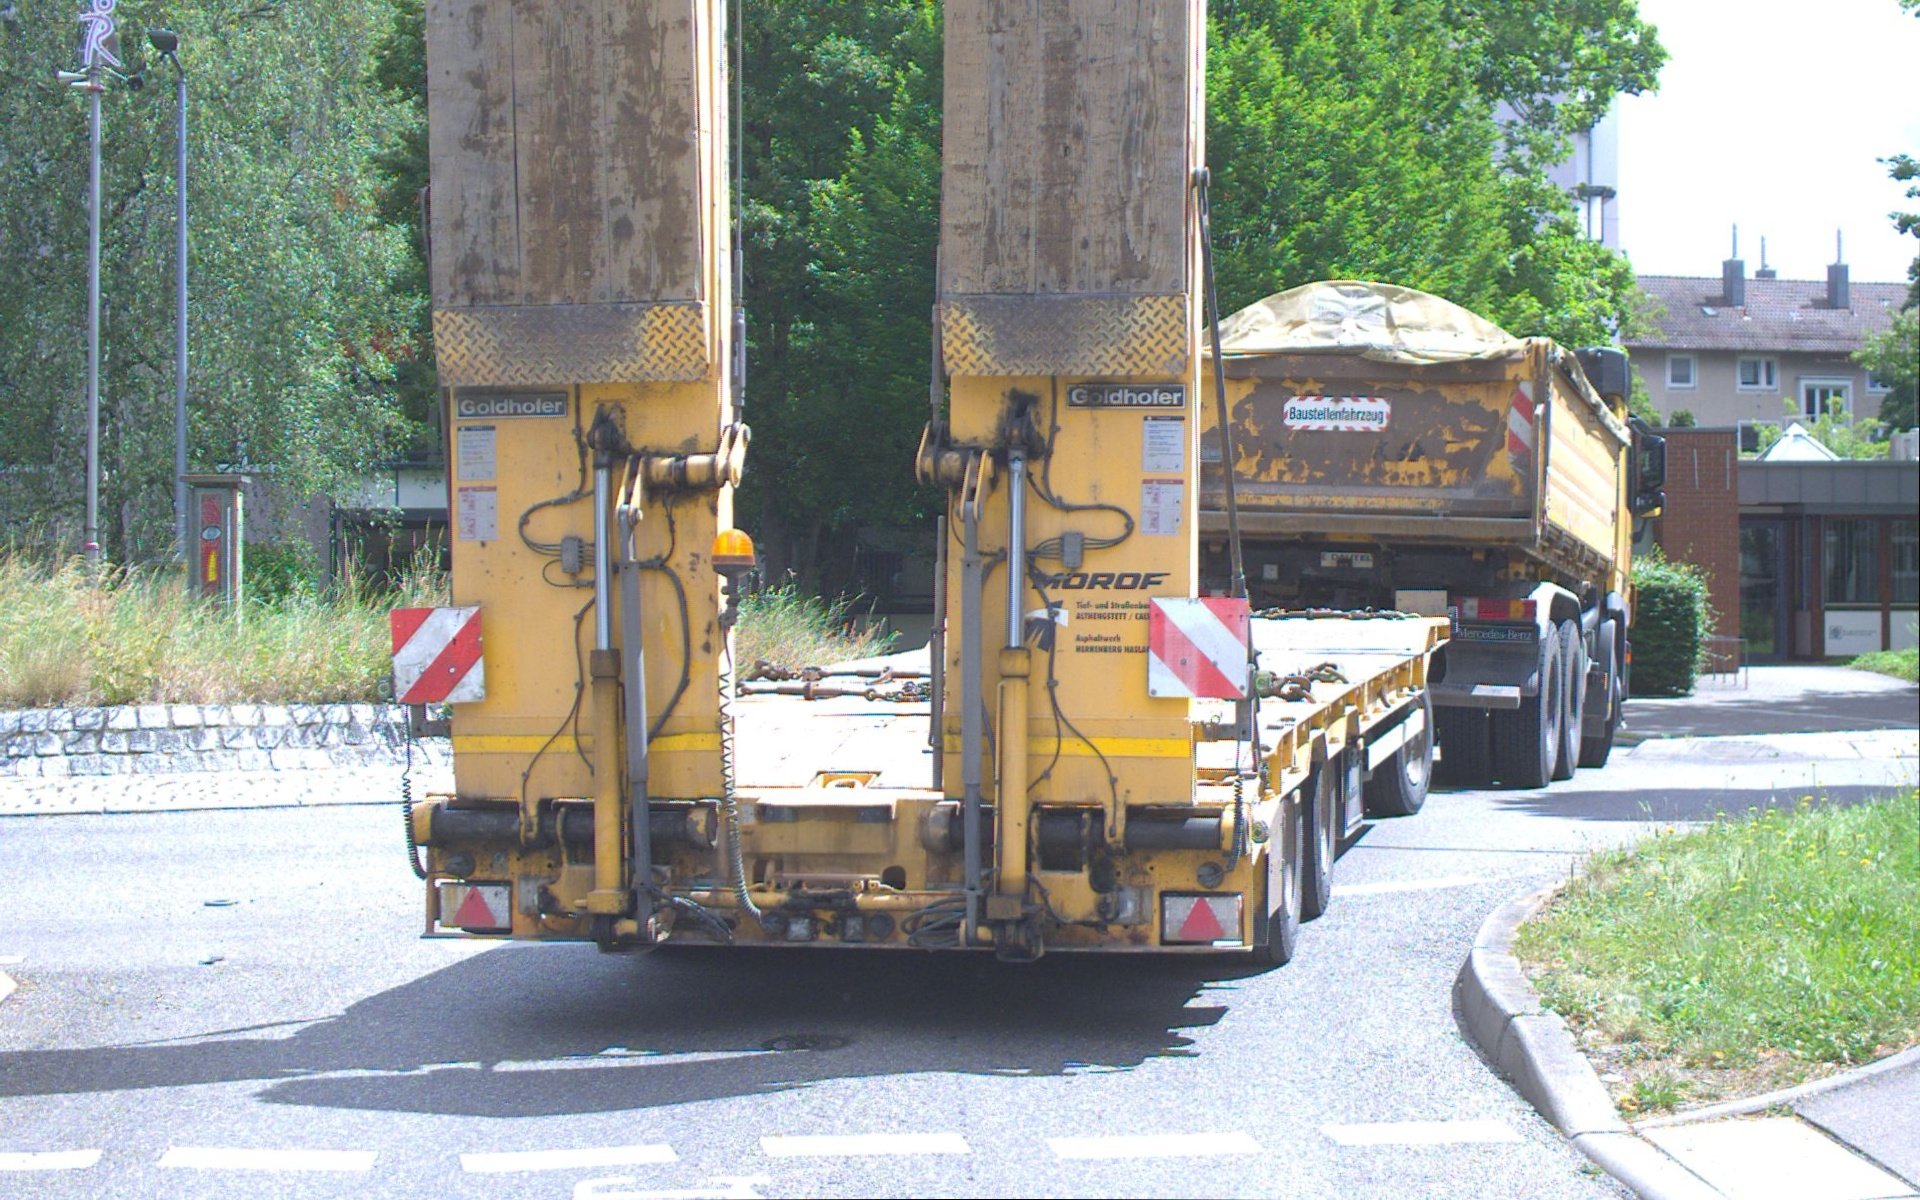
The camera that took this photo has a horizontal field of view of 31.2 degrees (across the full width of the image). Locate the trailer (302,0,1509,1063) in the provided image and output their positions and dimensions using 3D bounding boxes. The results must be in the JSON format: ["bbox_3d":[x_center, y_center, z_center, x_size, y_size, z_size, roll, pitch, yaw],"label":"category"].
[{"bbox_3d":[0.633,-0.541,15.031,2.865,3.361,10.835,1,1,12],"label":"trailer"}]

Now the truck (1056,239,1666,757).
[{"bbox_3d":[3.191,-0.735,24.597,2.990,3.024,8.480,2,2,16],"label":"truck"}]
